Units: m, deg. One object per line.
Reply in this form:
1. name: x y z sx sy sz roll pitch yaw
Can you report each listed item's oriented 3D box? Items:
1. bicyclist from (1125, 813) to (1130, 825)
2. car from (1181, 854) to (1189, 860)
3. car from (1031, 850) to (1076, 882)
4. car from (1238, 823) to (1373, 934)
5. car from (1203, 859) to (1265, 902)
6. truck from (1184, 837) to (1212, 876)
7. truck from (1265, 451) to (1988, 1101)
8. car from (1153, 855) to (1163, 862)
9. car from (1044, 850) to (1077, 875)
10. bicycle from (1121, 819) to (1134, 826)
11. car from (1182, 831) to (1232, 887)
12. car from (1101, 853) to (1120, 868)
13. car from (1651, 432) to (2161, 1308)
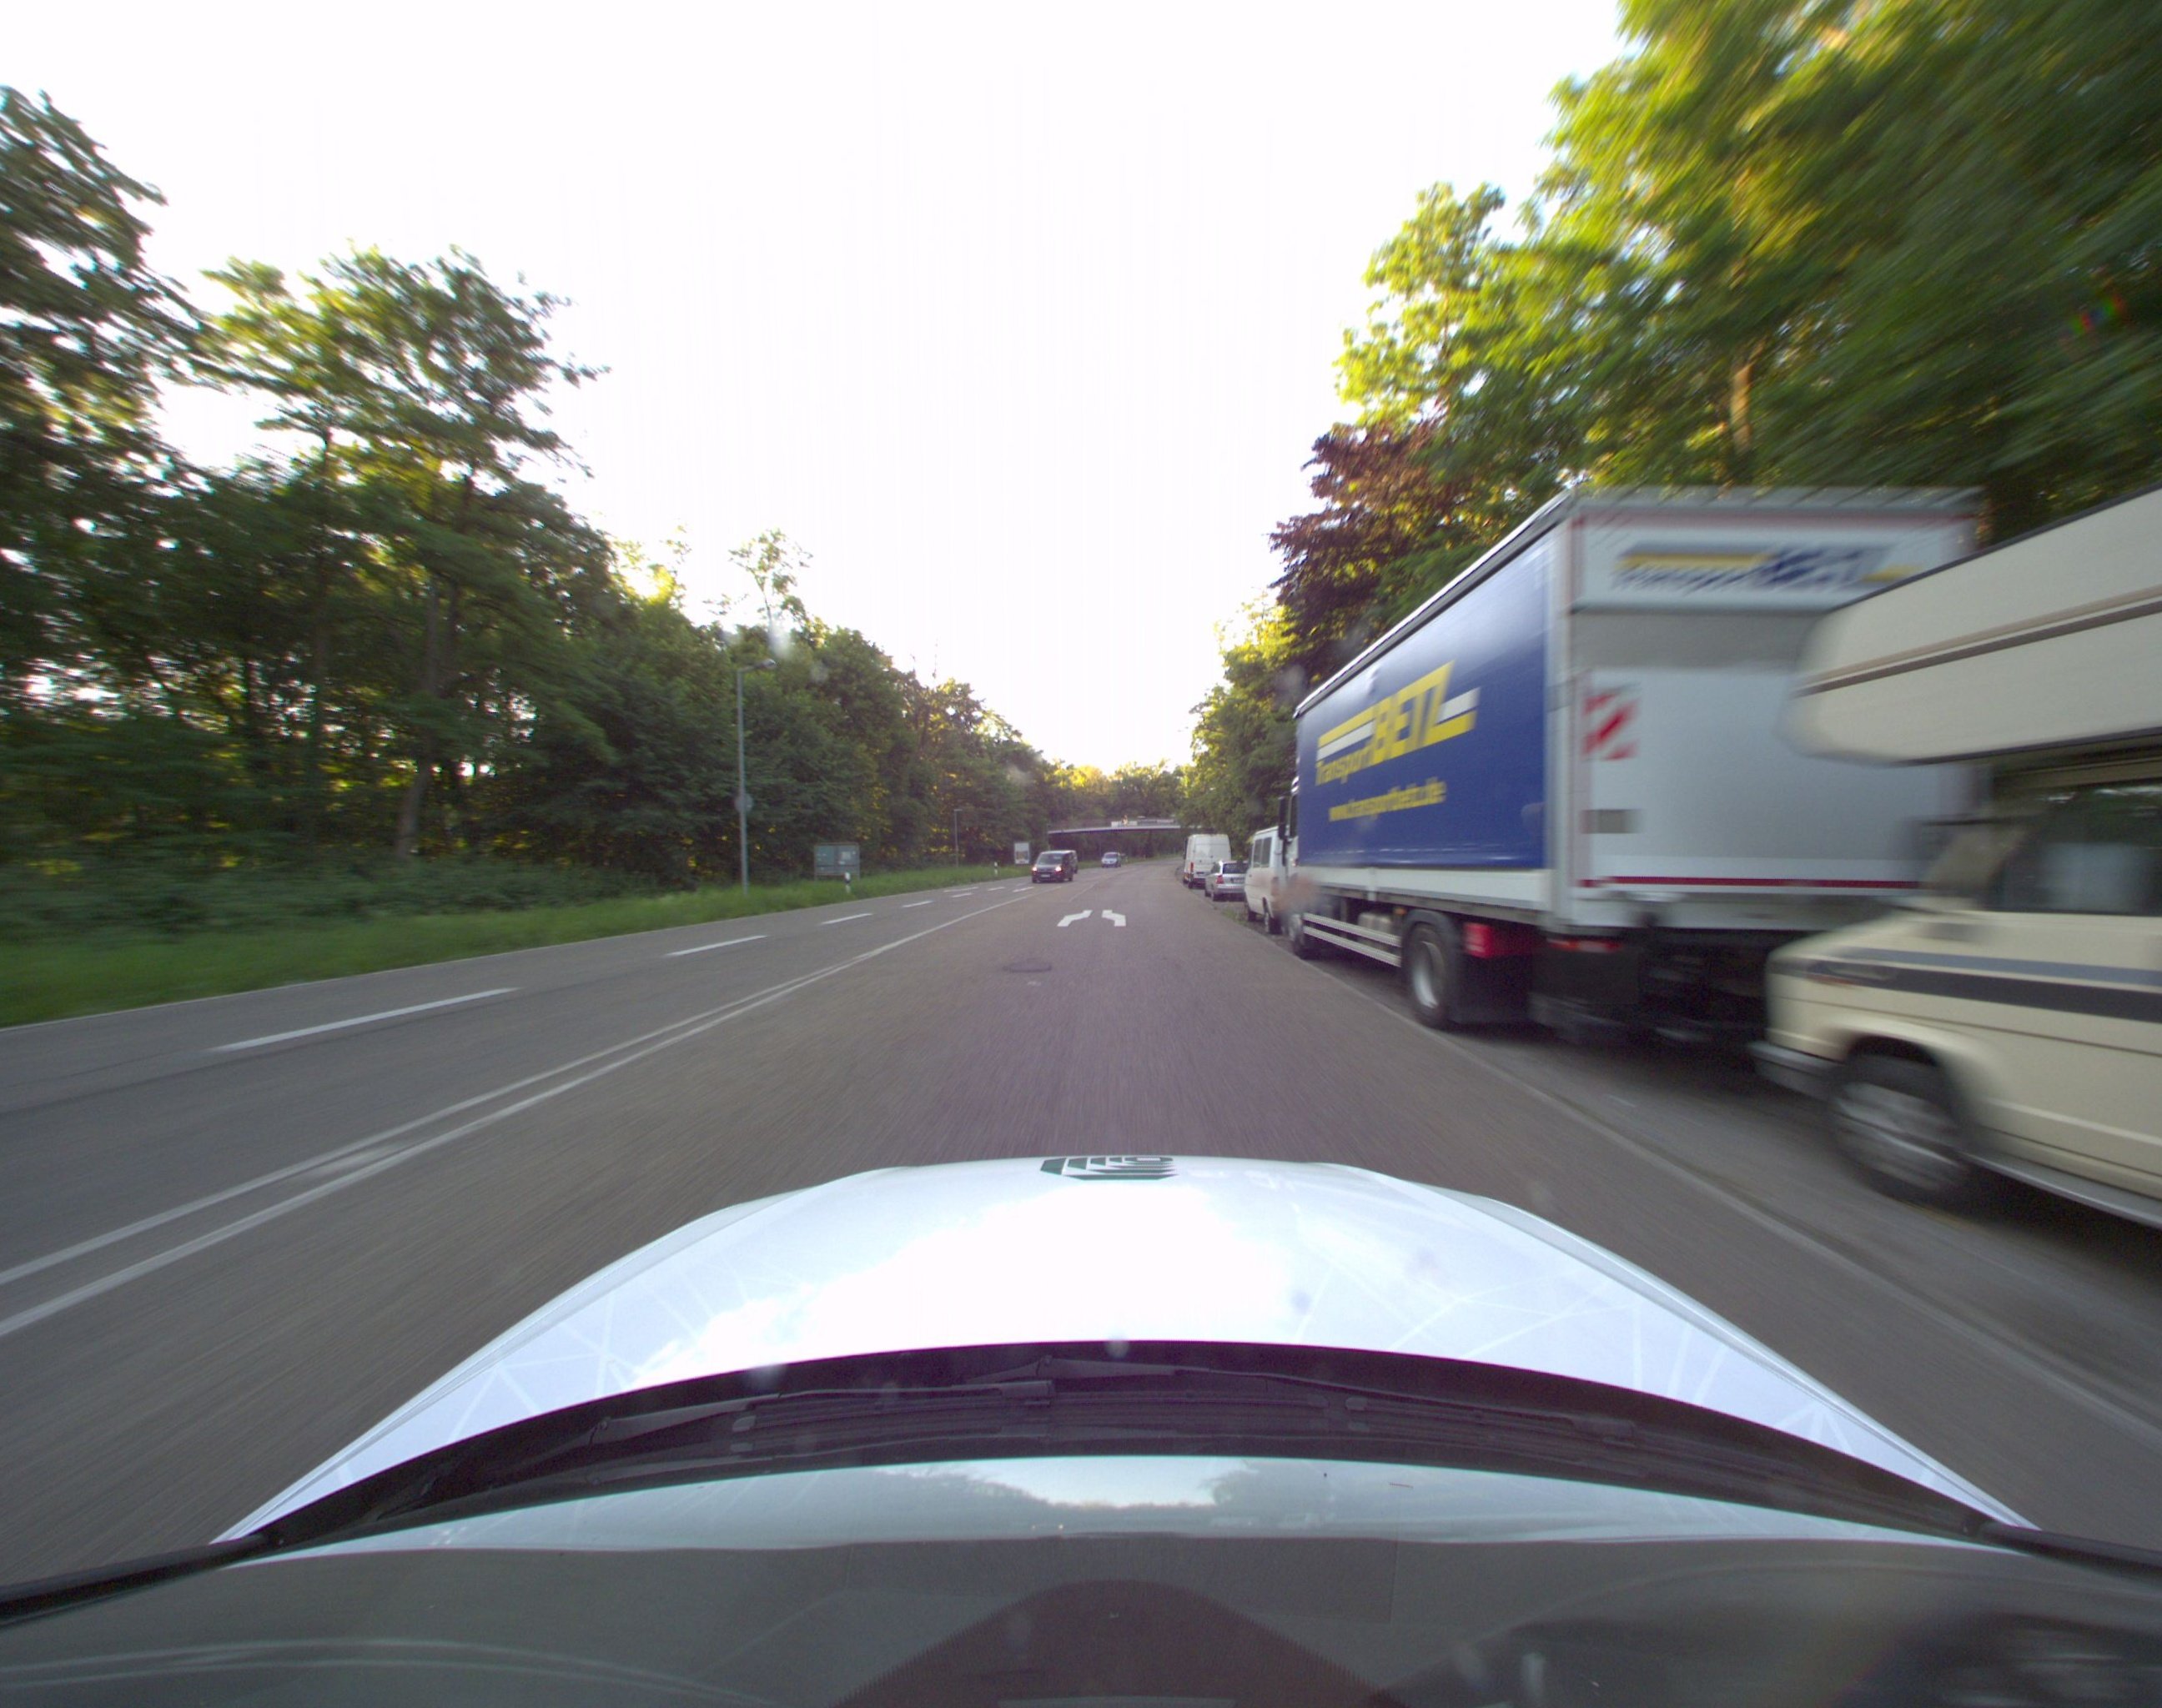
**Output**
1. bicyclist: 6.673 -4.961 115.866 0.661 1.581 0.549 0 0 9
2. car: 24.962 0.661 195.705 1.881 1.447 4.118 -2 0 7
3. car: -1.550 0.684 47.728 1.833 1.800 4.757 0 0 7
4. car: 4.996 0.502 18.852 1.985 2.189 4.932 1 0 3
5. car: 5.491 0.906 29.609 1.676 1.373 4.274 1 0 3
6. truck: 8.597 0.196 60.073 1.983 2.717 6.629 0 0 7
7. truck: 4.485 -0.478 9.950 2.647 4.027 9.728 -1 0 2
8. car: 16.917 0.974 178.445 1.881 1.447 4.118 -2 0 7
9. car: -1.605 0.655 65.367 1.983 1.926 4.389 1 0 7
10. bicycle: 6.622 -4.490 115.865 1.833 0.949 0.552 0 0 9
11. car: 6.132 0.247 40.160 1.955 2.512 6.023 1 0 5
12. car: 3.455 0.749 95.593 1.833 1.735 4.008 0 0 7
13. car: 4.742 0.042 2.004 2.402 2.858 5.928 0 0 -2
